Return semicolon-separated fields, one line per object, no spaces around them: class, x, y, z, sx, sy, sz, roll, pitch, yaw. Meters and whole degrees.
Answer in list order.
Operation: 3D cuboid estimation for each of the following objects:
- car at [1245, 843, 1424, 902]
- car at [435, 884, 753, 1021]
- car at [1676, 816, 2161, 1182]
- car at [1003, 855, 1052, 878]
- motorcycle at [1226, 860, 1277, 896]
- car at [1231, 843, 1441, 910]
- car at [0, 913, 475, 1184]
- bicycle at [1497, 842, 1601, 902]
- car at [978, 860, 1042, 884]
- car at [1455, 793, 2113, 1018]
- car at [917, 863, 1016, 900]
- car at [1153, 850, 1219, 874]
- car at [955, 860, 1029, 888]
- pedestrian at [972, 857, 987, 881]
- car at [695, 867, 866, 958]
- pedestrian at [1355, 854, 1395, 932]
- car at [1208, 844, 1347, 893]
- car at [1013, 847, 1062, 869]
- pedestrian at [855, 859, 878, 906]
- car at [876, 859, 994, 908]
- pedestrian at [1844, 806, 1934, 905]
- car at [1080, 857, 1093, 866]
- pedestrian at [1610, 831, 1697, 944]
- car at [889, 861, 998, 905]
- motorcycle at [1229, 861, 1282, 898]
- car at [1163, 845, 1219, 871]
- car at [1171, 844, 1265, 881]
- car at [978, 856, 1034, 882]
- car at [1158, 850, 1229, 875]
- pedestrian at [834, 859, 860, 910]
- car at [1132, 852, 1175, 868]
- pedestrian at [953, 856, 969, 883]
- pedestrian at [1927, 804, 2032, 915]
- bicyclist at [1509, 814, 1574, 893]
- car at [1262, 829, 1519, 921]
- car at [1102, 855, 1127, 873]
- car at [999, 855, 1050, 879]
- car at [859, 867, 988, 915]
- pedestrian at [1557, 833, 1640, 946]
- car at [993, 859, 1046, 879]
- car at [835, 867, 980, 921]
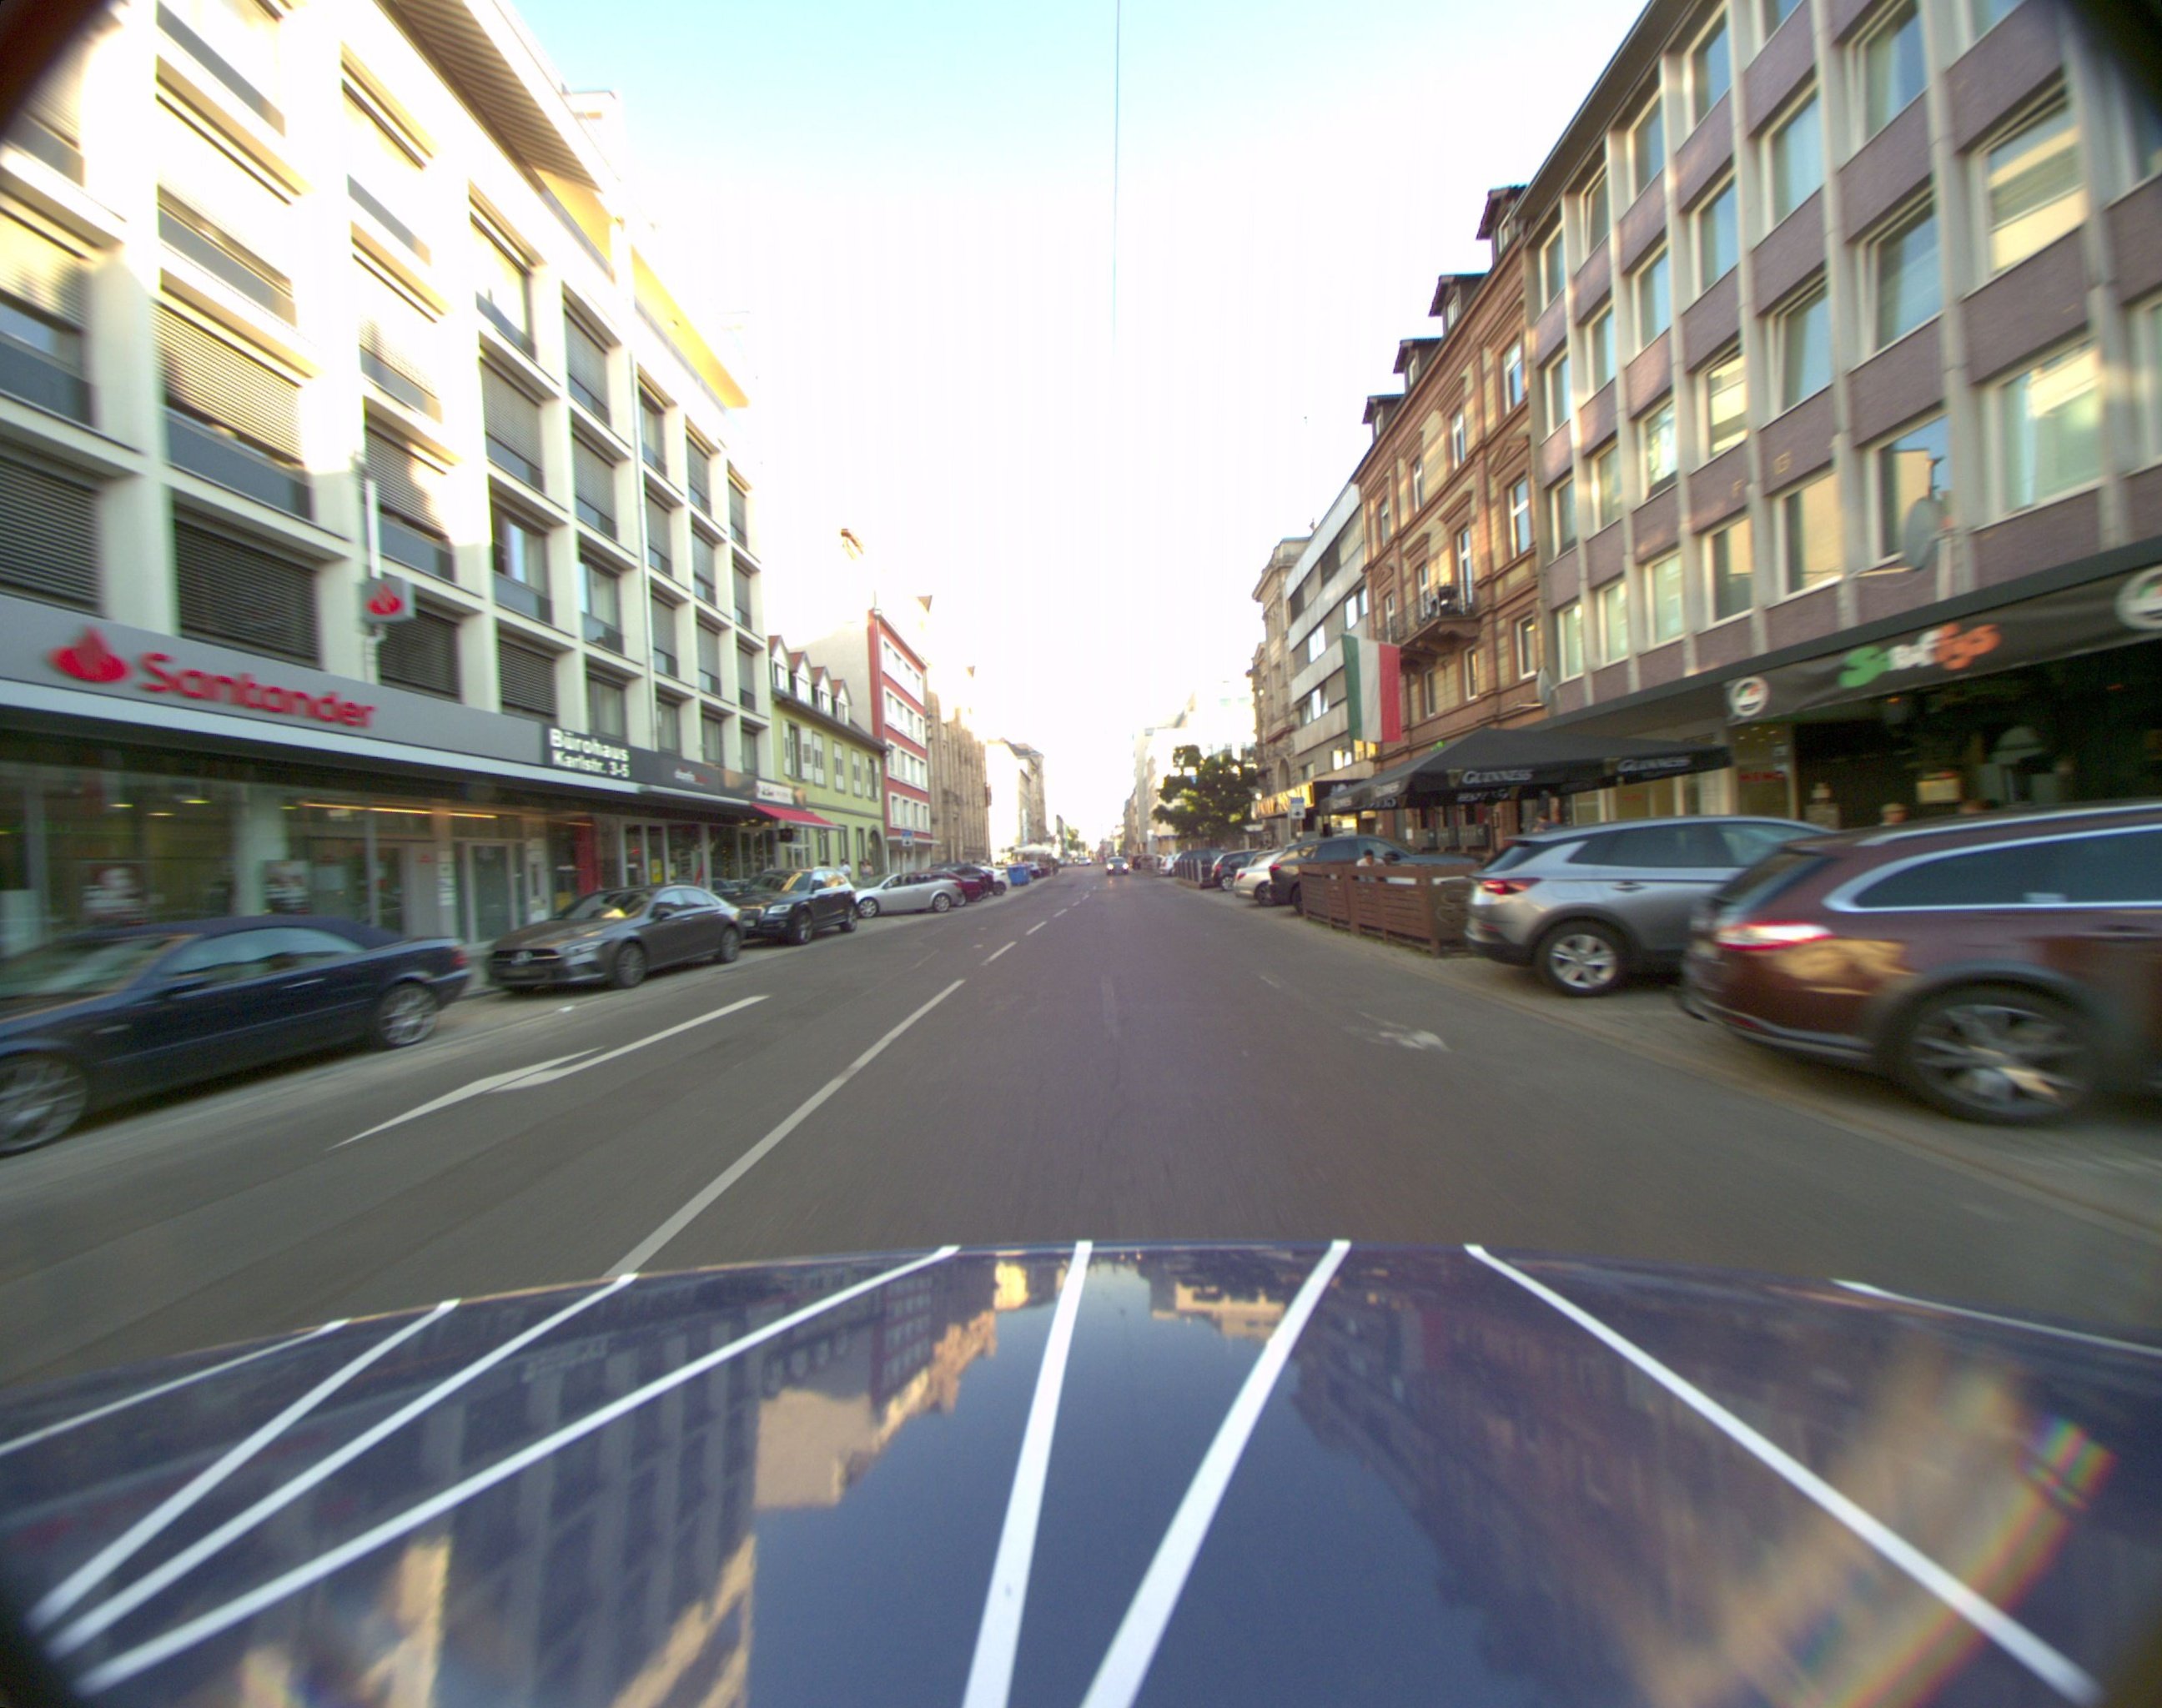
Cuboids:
car;7.535;0.562;22.718;4.831;1.495;1.911;-3;0;23
car;-7.084;1.324;11.777;1.746;1.438;4.559;-3;0;3
car;5.667;0.582;3.600;4.285;1.539;1.714;-3;1;32
car;-4.747;1.104;67.133;3.841;1.714;1.751;-4;0;-23
motorcycle;5.793;0.824;25.803;1.584;1.151;0.458;-3;1;16
car;6.585;0.606;19.811;4.830;1.495;1.912;-3;0;31
car;-7.479;1.366;5.950;1.747;1.379;4.501;-3;0;1
bicycle;9.534;0.335;15.609;0.767;1.108;2.178;-4;1;1
car;-5.128;1.262;54.916;4.232;1.465;1.751;-3;0;-23
car;5.850;0.491;7.084;4.043;1.619;1.855;-5;0;23
car;-5.426;1.278;36.038;4.234;1.465;1.750;-3;0;-28
car;7.341;0.565;52.838;4.419;1.417;1.910;-3;0;9
car;-5.583;1.255;47.738;4.234;1.465;1.750;-3;0;-28
pedestrian;-7.845;1.185;58.607;0.849;1.789;1.013;-3;0;7
car;-6.550;1.191;17.194;1.831;1.649;4.364;-3;0;4
pedestrian;5.472;0.718;14.167;0.575;1.408;0.542;-3;0;13
car;7.409;0.550;29.049;4.836;1.558;1.909;-3;0;6
car;-4.113;0.408;72.345;4.232;1.871;1.751;-3;0;-23
pedestrian;-8.747;1.159;31.040;0.612;1.876;0.719;-3;1;0
car;-5.825;1.156;30.553;4.234;1.666;1.750;-3;0;-32
pedestrian;11.170;0.021;10.518;0.574;1.301;0.576;-3;0;2
car;0.972;1.187;122.459;1.906;1.417;4.426;-3;0;2
pedestrian;7.510;0.428;9.986;0.576;1.408;0.675;-3;0;1
car;-5.965;1.232;33.038;4.234;1.607;1.750;-3;0;-28
motorcycle;5.673;0.829;24.726;1.584;1.118;0.514;-3;1;17
car;9.119;0.335;62.670;4.419;1.951;1.910;-3;0;9
car;7.458;0.447;41.536;4.835;1.763;1.910;-3;0;9
car;-5.692;1.121;57.620;3.841;1.742;1.751;-3;0;-23
car;7.282;0.543;49.112;4.419;1.417;1.910;-3;0;9
pedestrian;-9.610;1.239;31.223;0.763;2.055;0.719;-3;1;0
car;7.663;0.609;80.095;4.419;1.417;1.910;-3;0;9
pedestrian;-8.991;1.163;56.932;0.849;1.932;1.013;-3;0;7
pedestrian;11.140;0.068;9.441;0.574;1.301;0.576;-3;0;2
bicyclist;9.509;-0.012;15.720;0.767;1.550;0.813;-4;1;1
car;6.600;0.481;16.397;4.830;1.722;1.912;-3;0;29
car;2.801;0.809;63.480;1.906;1.417;4.426;-3;0;3
car;-4.756;1.103;64.167;3.841;1.714;1.751;-4;0;-23
car;-5.736;1.300;27.809;4.234;1.431;1.750;-3;0;-32
pedestrian;6.791;0.457;10.004;0.576;1.408;0.675;-3;0;1
car;-4.932;1.222;60.950;3.841;1.339;1.736;-4;0;-23
car;-5.641;1.266;25.004;4.236;1.431;1.750;-3;0;-40
